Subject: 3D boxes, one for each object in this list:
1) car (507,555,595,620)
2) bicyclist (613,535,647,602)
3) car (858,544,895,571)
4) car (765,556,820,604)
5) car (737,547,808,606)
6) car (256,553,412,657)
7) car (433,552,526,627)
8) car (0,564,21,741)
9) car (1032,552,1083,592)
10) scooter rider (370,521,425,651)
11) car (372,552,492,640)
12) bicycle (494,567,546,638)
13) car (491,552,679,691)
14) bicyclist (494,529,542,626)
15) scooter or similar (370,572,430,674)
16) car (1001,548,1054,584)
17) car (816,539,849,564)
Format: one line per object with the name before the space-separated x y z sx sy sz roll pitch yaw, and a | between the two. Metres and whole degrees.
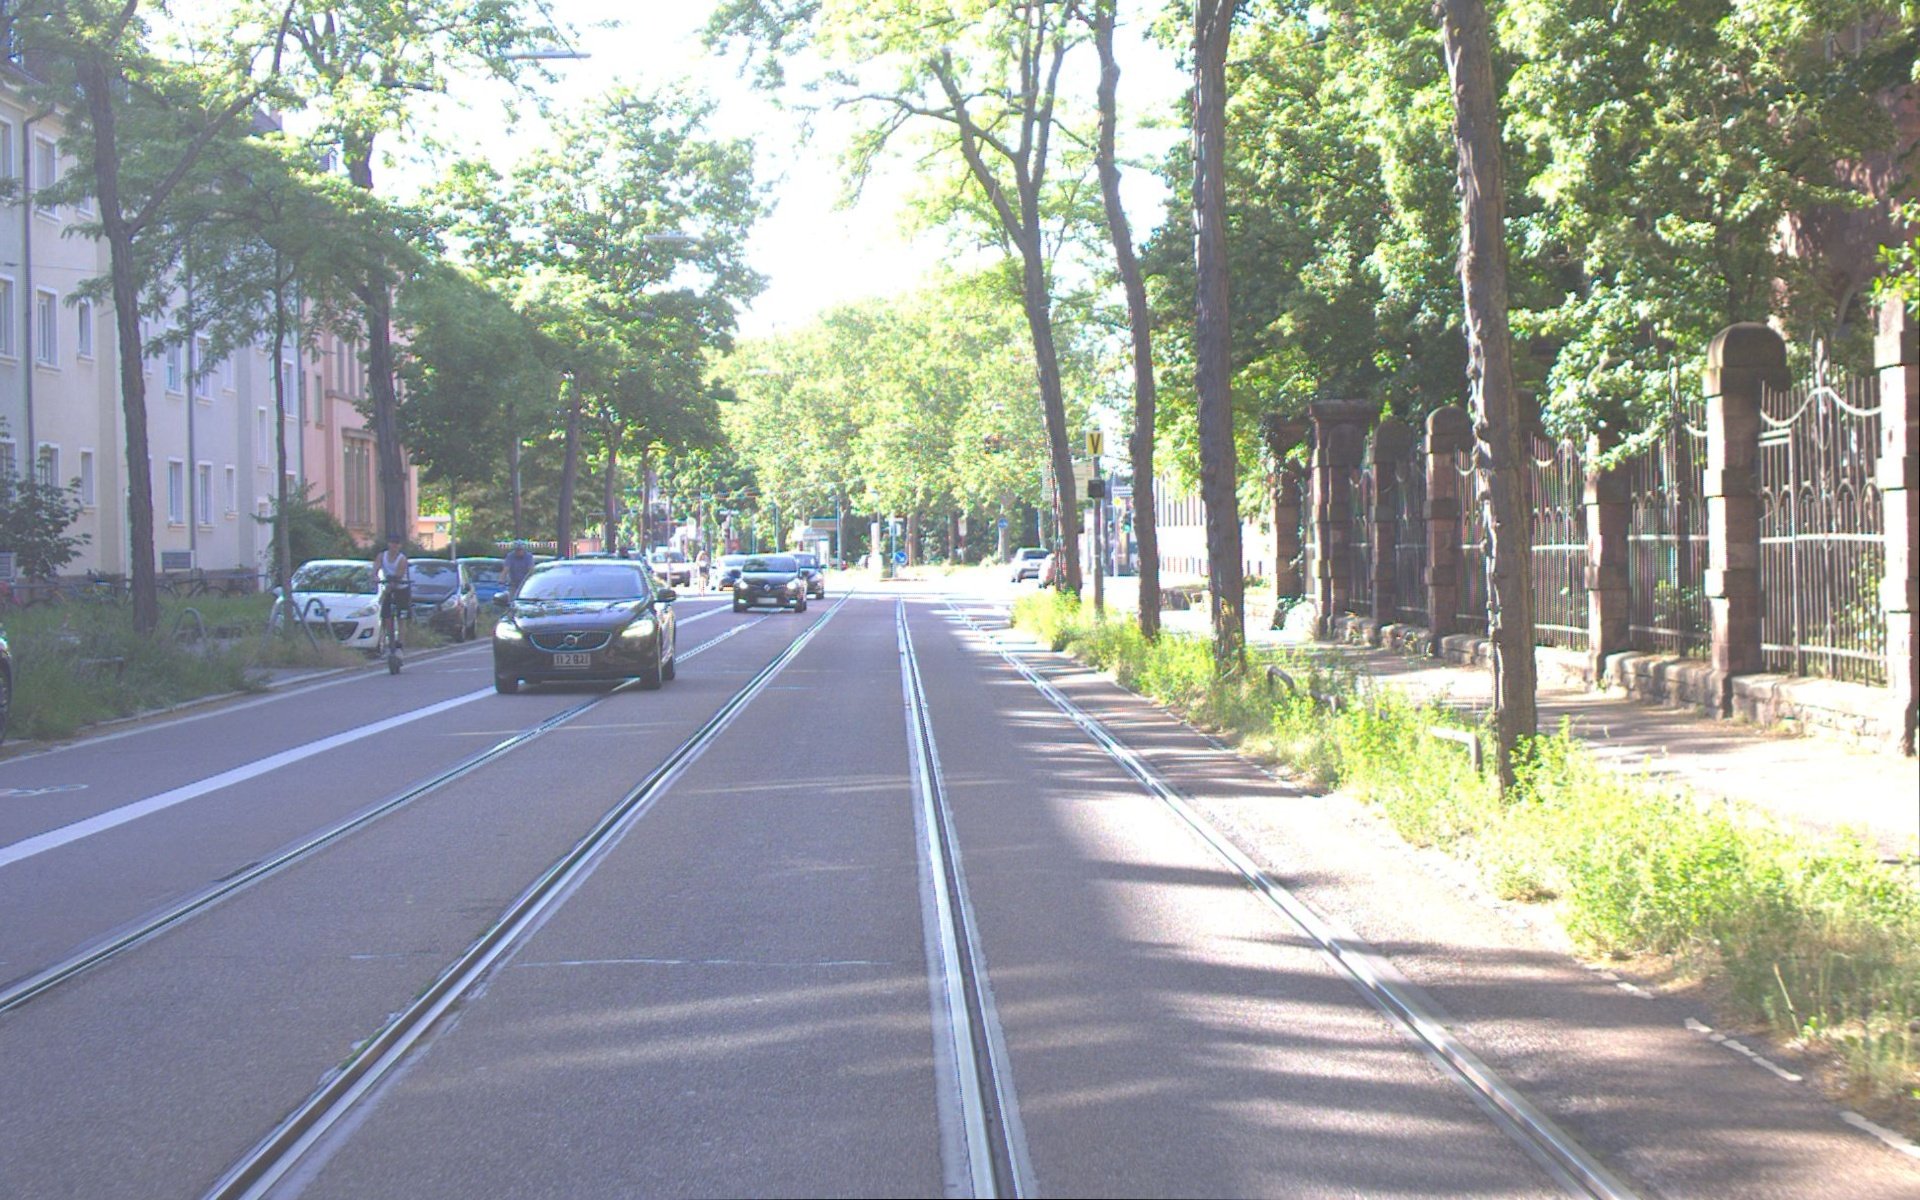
car | -10.025 -0.334 84.532 1.745 1.485 4.324 2 1 -2
bicyclist | -8.205 -0.786 85.503 0.709 1.601 0.865 -3 1 -1
car | -5.227 -2.649 214.031 1.942 1.605 4.001 -1 1 -6
car | -5.292 -0.660 109.029 1.699 1.466 4.072 0 1 -2
car | -4.664 -0.603 85.971 1.699 1.434 4.072 0 1 -2
car | -9.667 0.046 53.366 1.702 1.480 4.079 2 1 -1
car | -10.025 -0.241 71.887 1.560 1.452 3.931 2 1 -3
car | -8.947 0.460 27.440 1.817 1.480 4.207 1 1 -1
car | 4.047 -1.180 142.928 1.839 1.649 3.580 -1 1 -3
scooter rider | -7.507 -0.192 45.900 0.496 1.694 0.787 -4 1 -1
car | -9.566 -0.093 62.470 1.687 1.480 3.760 2 1 -2
bicycle | -7.646 0.037 59.750 0.626 1.173 1.913 -3 1 -1
car | -4.112 0.194 38.260 1.757 1.434 4.524 0 1 -2
bicyclist | -7.670 -0.395 59.701 0.626 1.633 0.940 -3 1 -1
scooter or similar | -7.470 0.297 45.899 0.520 1.293 1.377 -4 1 -1
car | 3.069 -1.574 157.228 1.942 1.605 4.001 -1 1 -6
car | -8.527 -3.250 229.550 1.942 1.605 4.001 -1 1 -6
